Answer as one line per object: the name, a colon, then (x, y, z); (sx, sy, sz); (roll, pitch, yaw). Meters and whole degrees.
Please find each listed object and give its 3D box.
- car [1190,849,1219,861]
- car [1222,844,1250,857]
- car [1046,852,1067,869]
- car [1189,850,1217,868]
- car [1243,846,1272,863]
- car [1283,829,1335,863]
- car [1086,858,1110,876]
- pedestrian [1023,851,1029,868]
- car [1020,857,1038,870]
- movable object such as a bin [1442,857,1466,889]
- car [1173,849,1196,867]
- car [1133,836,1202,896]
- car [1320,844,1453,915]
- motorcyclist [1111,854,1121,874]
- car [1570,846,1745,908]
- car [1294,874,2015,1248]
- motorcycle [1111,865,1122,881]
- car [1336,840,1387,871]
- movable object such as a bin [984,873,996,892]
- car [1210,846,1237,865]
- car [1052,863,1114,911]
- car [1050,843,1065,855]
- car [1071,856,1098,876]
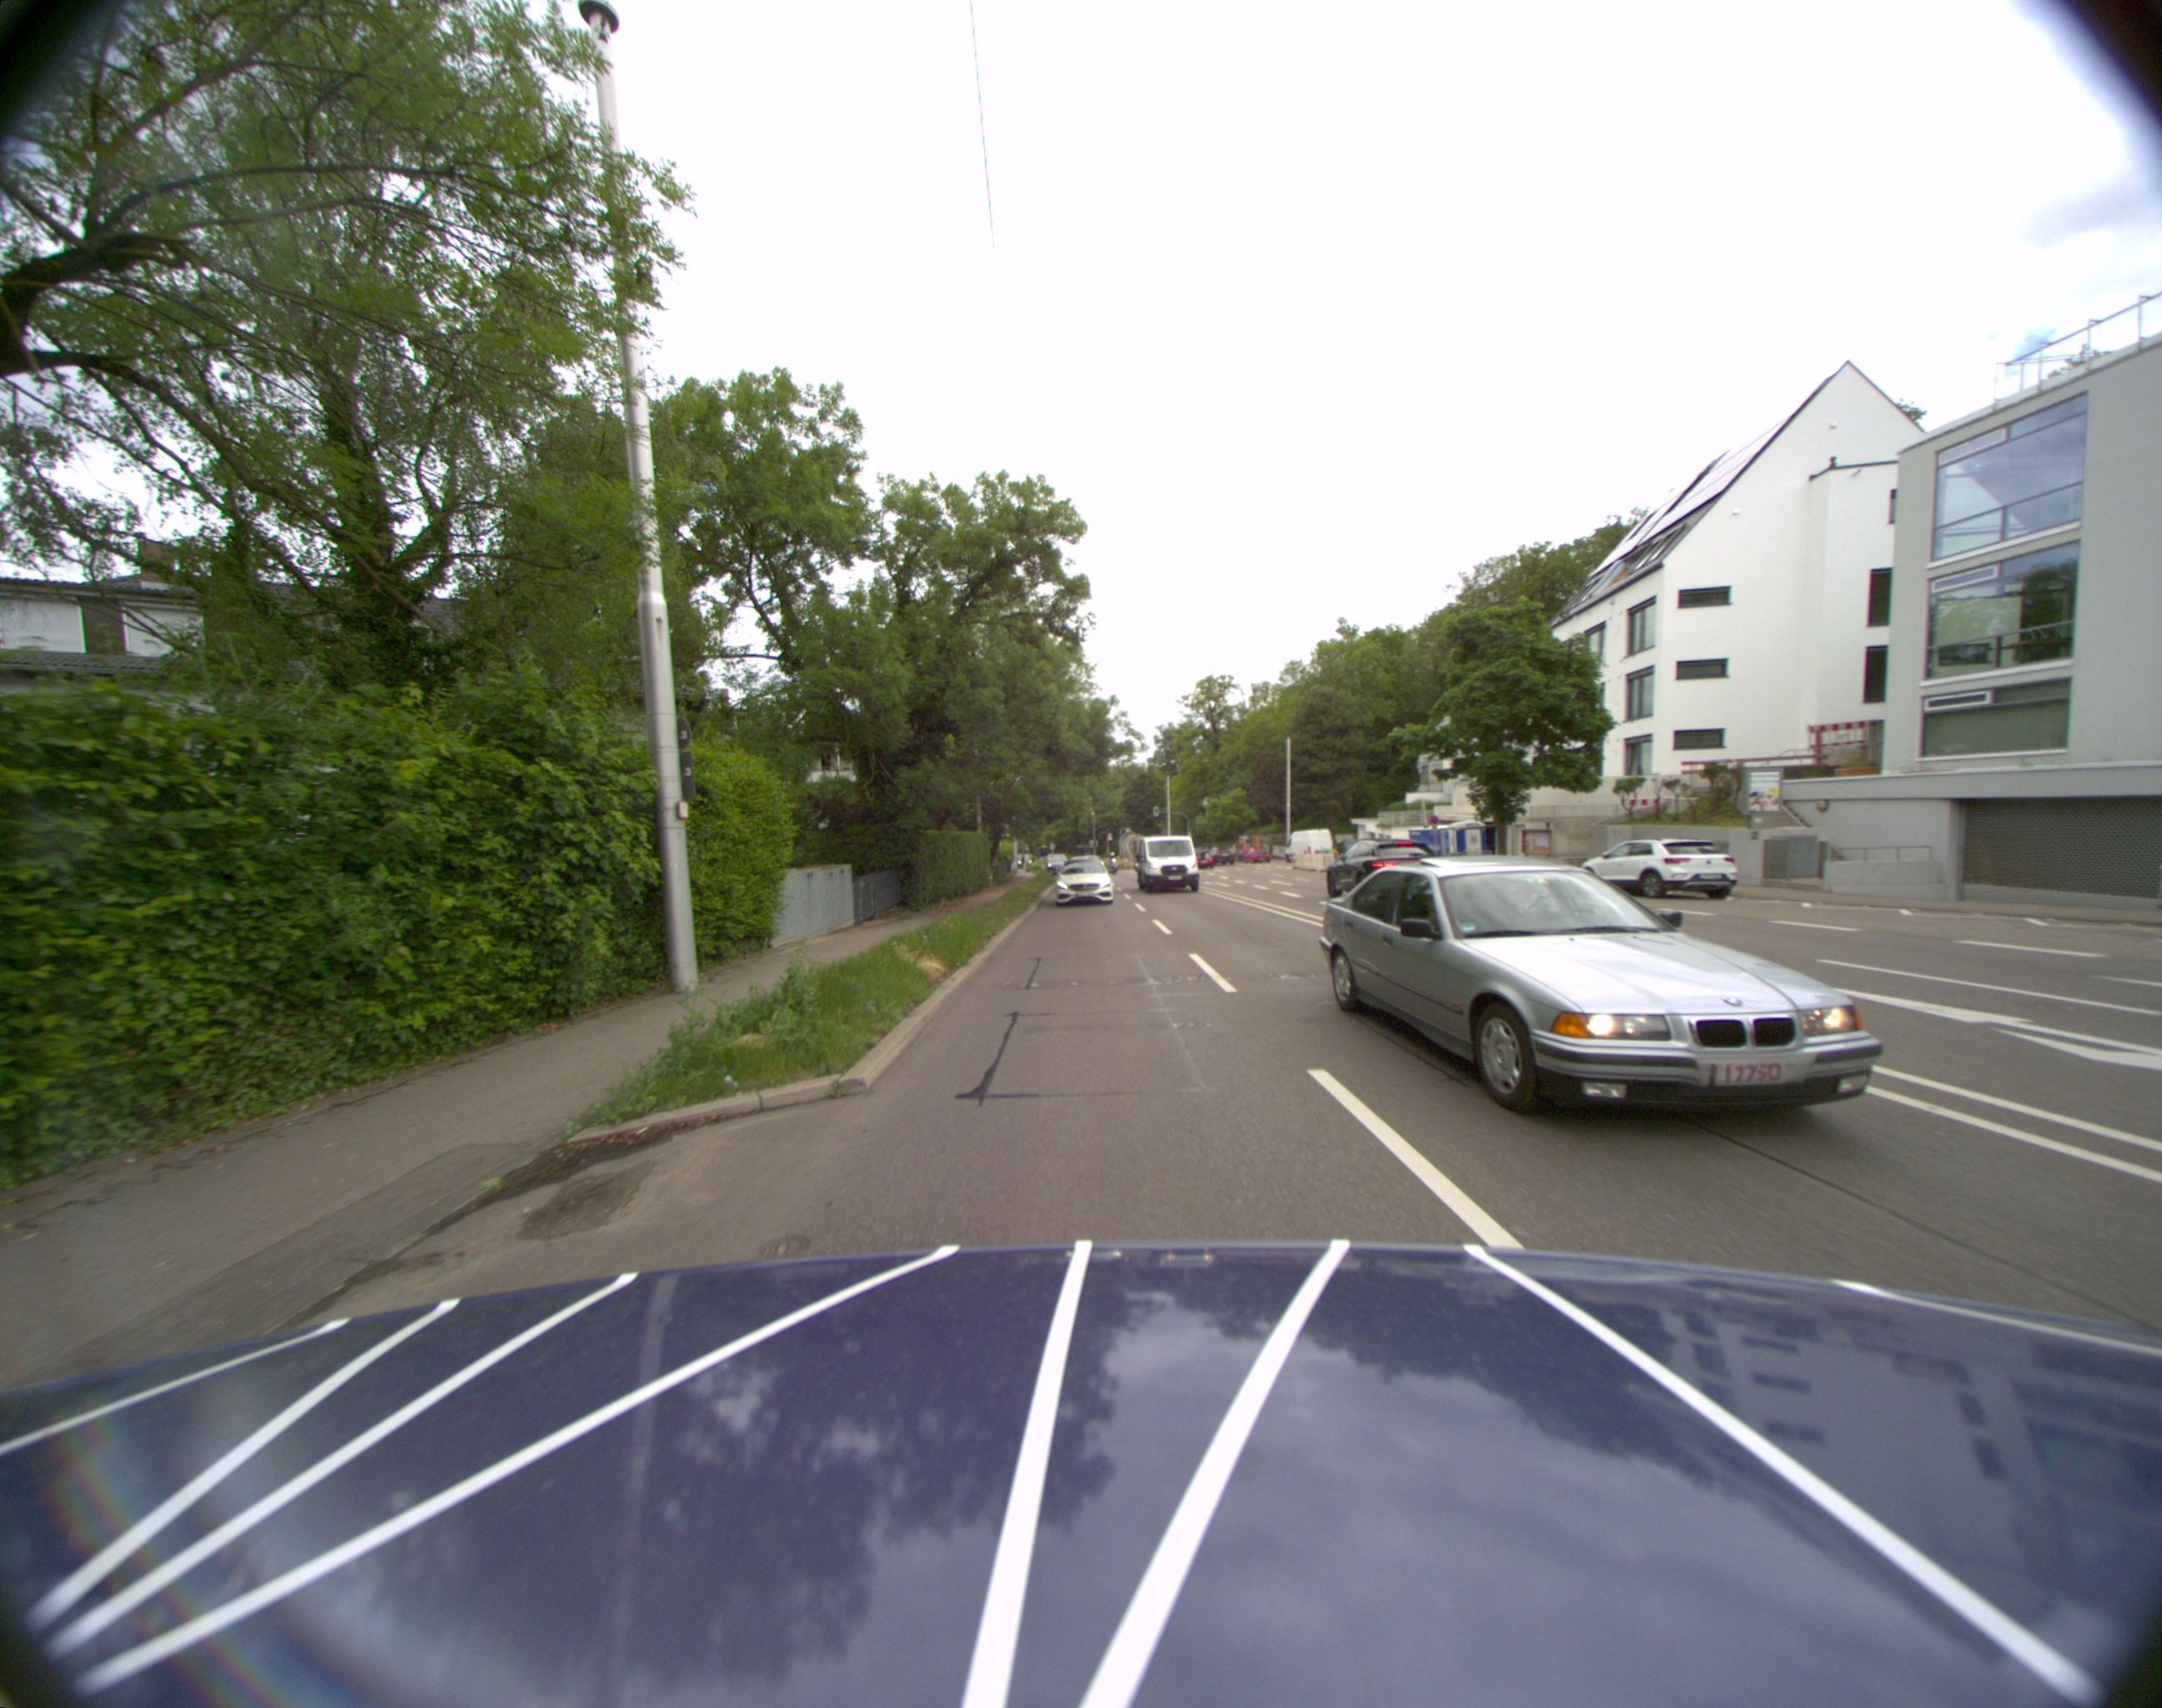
car: (14.484, 0.122, 89.411); (1.569, 1.277, 3.288); (-2, 0, -29)
car: (18.404, -0.420, 90.313); (3.301, 1.434, 1.579); (-2, 0, -40)
car: (-2.424, 0.623, 75.287); (1.676, 1.523, 3.997); (-2, 0, -7)
car: (9.914, 0.424, 62.018); (1.752, 1.373, 4.323); (-2, 0, 3)
car: (15.866, 0.060, 68.529); (1.582, 1.434, 3.294); (-2, 0, -4)
car: (18.598, -0.627, 62.276); (1.999, 2.511, 6.532); (-3, 0, -2)
car: (1.487, 1.172, 69.517); (1.999, 1.539, 4.000); (-1, 0, -1)
pedestrian: (-6.008, 0.599, 83.118); (0.513, 1.824, 0.494); (-2, 1, -1)
car: (-7.082, 1.260, 102.616); (2.000, 1.647, 4.432); (-2, 0, -9)
movable object such as a bin: (13.722, 0.683, 27.981); (0.589, 1.131, 0.645); (-2, 0, 7)
car: (9.748, 0.376, 71.712); (1.779, 1.588, 4.665); (-2, 0, 3)
car: (3.385, 0.464, 31.050); (1.999, 2.161, 6.268); (-1, 0, -1)
car: (8.094, 0.614, 20.632); (1.851, 1.693, 4.764); (-1, 0, 2)
motorcyclist: (2.684, 0.779, 58.652); (0.619, 1.463, 0.930); (-4, 0, -3)
car: (15.374, 0.550, 20.585); (1.672, 1.495, 4.238); (-1, 0, 2)
car: (3.043, 0.921, 5.469); (1.639, 1.374, 4.619); (-2, 0, -1)
motorcycle: (2.715, 1.456, 58.765); (0.574, 1.120, 2.295); (-4, 0, -3)
car: (17.325, 0.074, 47.085); (1.810, 1.741, 4.252); (-3, 0, 5)
movable object such as a bin: (-4.368, 1.369, 36.513); (0.474, 0.905, 0.454); (-2, 0, 1)
car: (12.730, 0.093, 68.156); (1.779, 1.588, 4.226); (-2, 0, 3)
car: (0.014, 1.012, 24.970); (1.821, 1.339, 3.999); (-2, 0, -2)
car: (-3.761, -0.761, 123.420); (2.000, 1.880, 3.997); (-2, 0, -8)
car: (0.226, 0.854, 56.650); (1.734, 1.402, 3.999); (-2, 0, -3)
